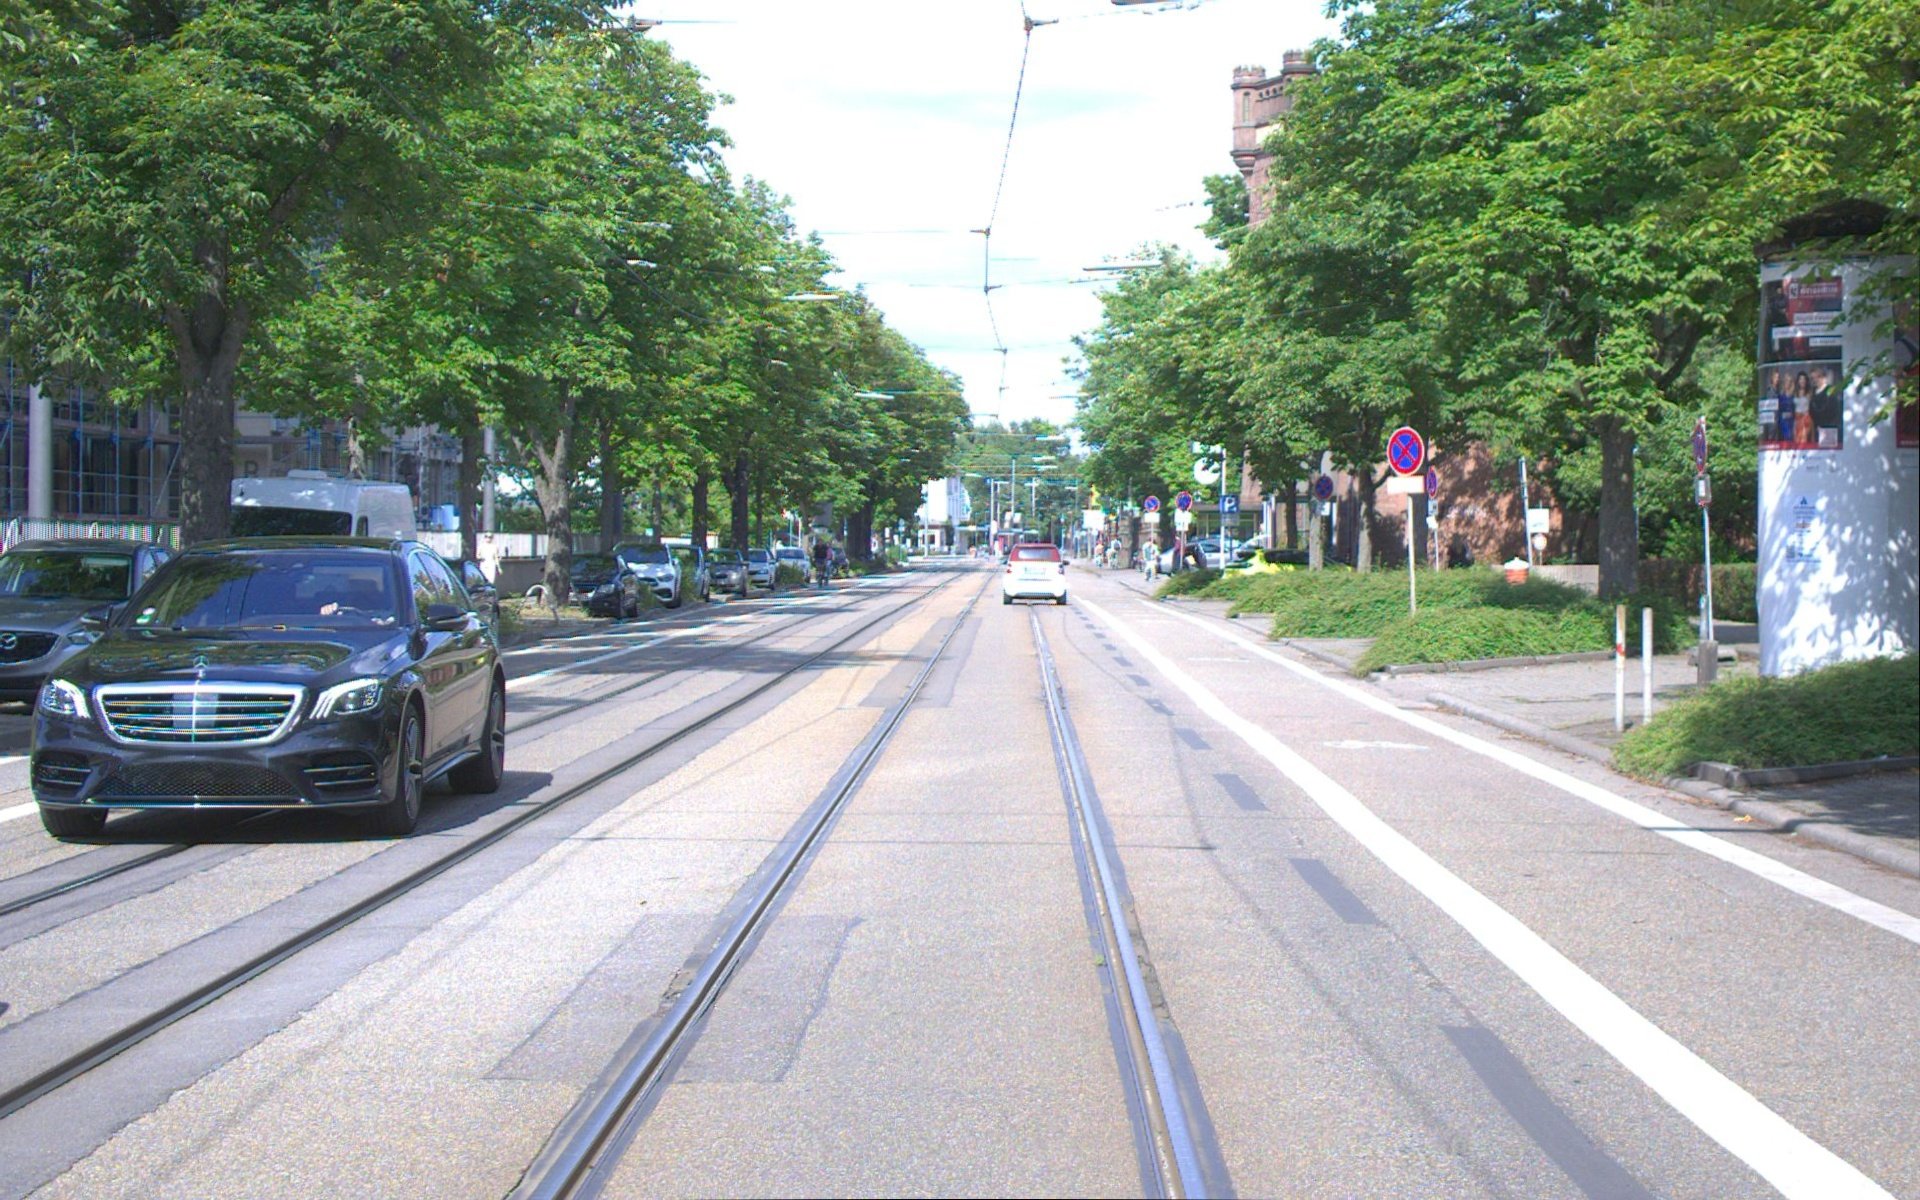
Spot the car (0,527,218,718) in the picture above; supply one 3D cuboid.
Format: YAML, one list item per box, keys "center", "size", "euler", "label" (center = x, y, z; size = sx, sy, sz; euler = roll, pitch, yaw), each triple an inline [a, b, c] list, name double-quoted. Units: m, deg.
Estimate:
- center: [-8.422, 0.159, 32.559]
  size: [1.804, 1.656, 4.103]
  euler: [2, 1, 1]
  label: "car"

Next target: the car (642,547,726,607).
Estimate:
- center: [-7.349, -0.636, 91.710]
  size: [1.804, 1.511, 4.103]
  euler: [2, 1, 1]
  label: "car"

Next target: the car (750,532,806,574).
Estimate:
- center: [-6.832, -1.774, 129.103]
  size: [1.804, 1.511, 4.103]
  euler: [1, 1, 1]
  label: "car"

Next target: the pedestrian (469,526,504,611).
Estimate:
- center: [-11.224, -0.758, 81.533]
  size: [0.802, 2.007, 0.485]
  euler: [0, 1, -8]
  label: "pedestrian"

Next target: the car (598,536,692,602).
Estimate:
- center: [-7.643, -0.768, 83.641]
  size: [1.804, 1.511, 4.103]
  euler: [2, 1, 1]
  label: "car"

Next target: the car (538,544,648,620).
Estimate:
- center: [-7.774, -0.398, 73.142]
  size: [1.804, 1.511, 4.103]
  euler: [2, 1, 1]
  label: "car"

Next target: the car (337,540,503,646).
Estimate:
- center: [-8.218, -0.134, 52.642]
  size: [1.804, 1.511, 4.103]
  euler: [2, 1, 1]
  label: "car"

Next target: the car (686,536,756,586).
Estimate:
- center: [-7.343, -1.213, 105.913]
  size: [1.804, 1.511, 4.103]
  euler: [1, 1, 1]
  label: "car"

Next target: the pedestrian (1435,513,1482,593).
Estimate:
- center: [12.881, -1.217, 88.840]
  size: [0.977, 2.007, 1.093]
  euler: [2, 1, 0]
  label: "pedestrian"

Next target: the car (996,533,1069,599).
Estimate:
- center: [1.799, -0.870, 86.617]
  size: [1.665, 1.619, 3.621]
  euler: [0, 1, -2]
  label: "car"

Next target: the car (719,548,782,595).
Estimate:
- center: [-7.196, -0.989, 118.287]
  size: [1.804, 1.511, 4.103]
  euler: [2, 1, 1]
  label: "car"

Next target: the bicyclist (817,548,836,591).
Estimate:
- center: [-5.022, -1.156, 129.524]
  size: [0.658, 1.574, 0.946]
  euler: [2, 1, -1]
  label: "bicyclist"

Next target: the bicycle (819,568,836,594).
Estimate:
- center: [-5.002, -0.715, 129.489]
  size: [0.618, 0.970, 1.717]
  euler: [1, 1, -2]
  label: "bicycle"

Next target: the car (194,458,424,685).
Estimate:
- center: [-8.106, -0.368, 43.288]
  size: [1.769, 2.630, 5.322]
  euler: [2, 1, 1]
  label: "car"

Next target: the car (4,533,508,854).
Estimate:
- center: [-3.696, 0.421, 18.864]
  size: [1.800, 1.503, 4.536]
  euler: [-2, 1, 0]
  label: "car"
